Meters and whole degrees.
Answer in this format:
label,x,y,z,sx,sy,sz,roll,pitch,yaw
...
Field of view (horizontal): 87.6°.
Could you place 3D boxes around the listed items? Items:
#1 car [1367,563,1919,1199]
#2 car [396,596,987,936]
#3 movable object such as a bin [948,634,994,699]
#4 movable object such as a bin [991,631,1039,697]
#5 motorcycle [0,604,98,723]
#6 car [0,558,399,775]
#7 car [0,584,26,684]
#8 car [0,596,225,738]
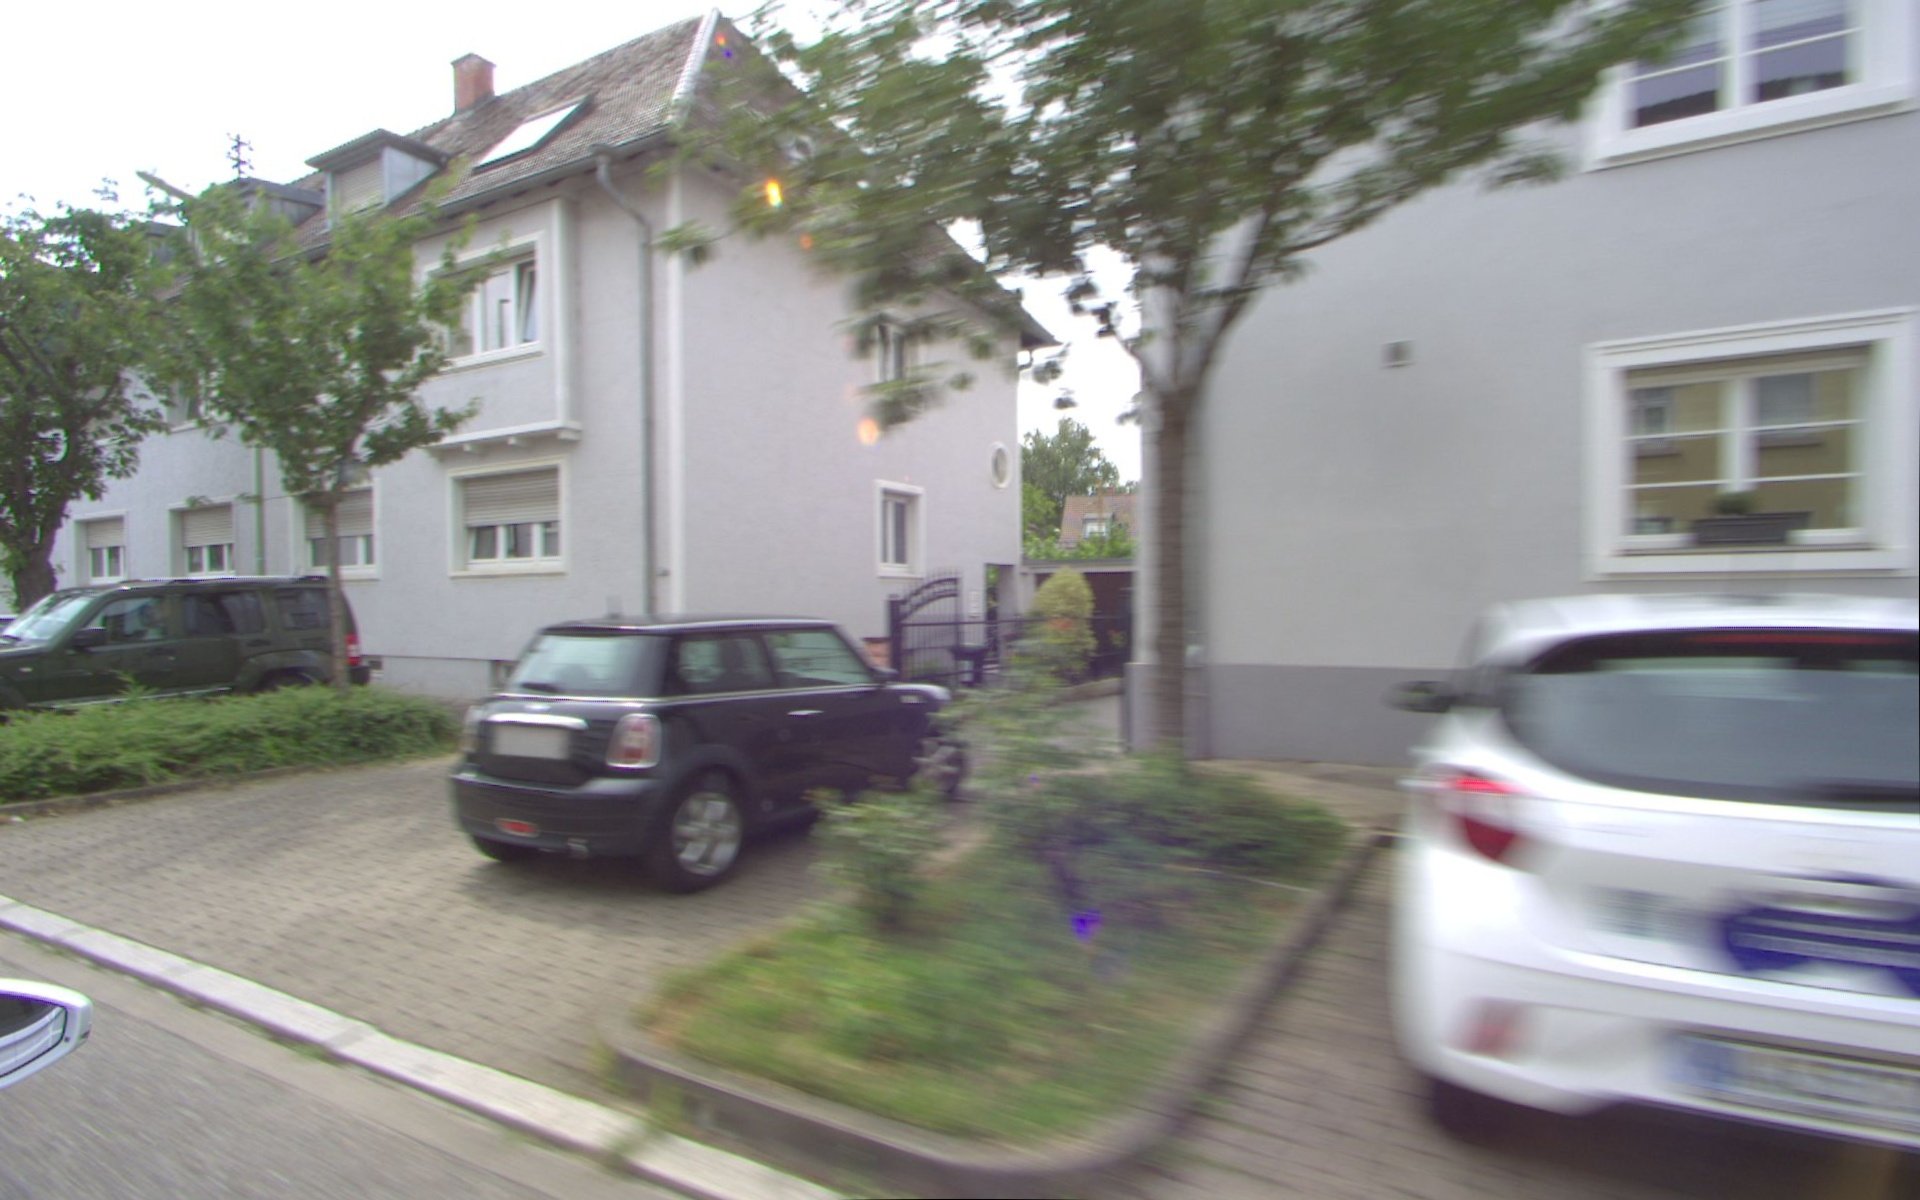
label,x,y,z,sx,sy,sz,roll,pitch,yaw
car,2.653,0.663,3.765,1.740,1.551,3.982,0,2,27
car,-1.437,0.771,6.604,1.782,1.473,3.537,0,2,29
movable object such as a bin,0.159,0.962,14.674,0.473,0.912,0.512,0,1,30
movable object such as a bin,0.897,1.034,16.369,0.599,1.023,0.511,0,2,35
motorcycle,-12.641,0.801,12.466,1.015,1.483,2.699,0,0,26
car,-8.461,0.546,10.145,1.767,1.883,4.513,0,2,32
car,-18.052,0.649,15.700,1.865,1.686,4.604,0,2,31
car,-10.968,0.752,11.518,1.745,1.474,3.622,0,2,26
